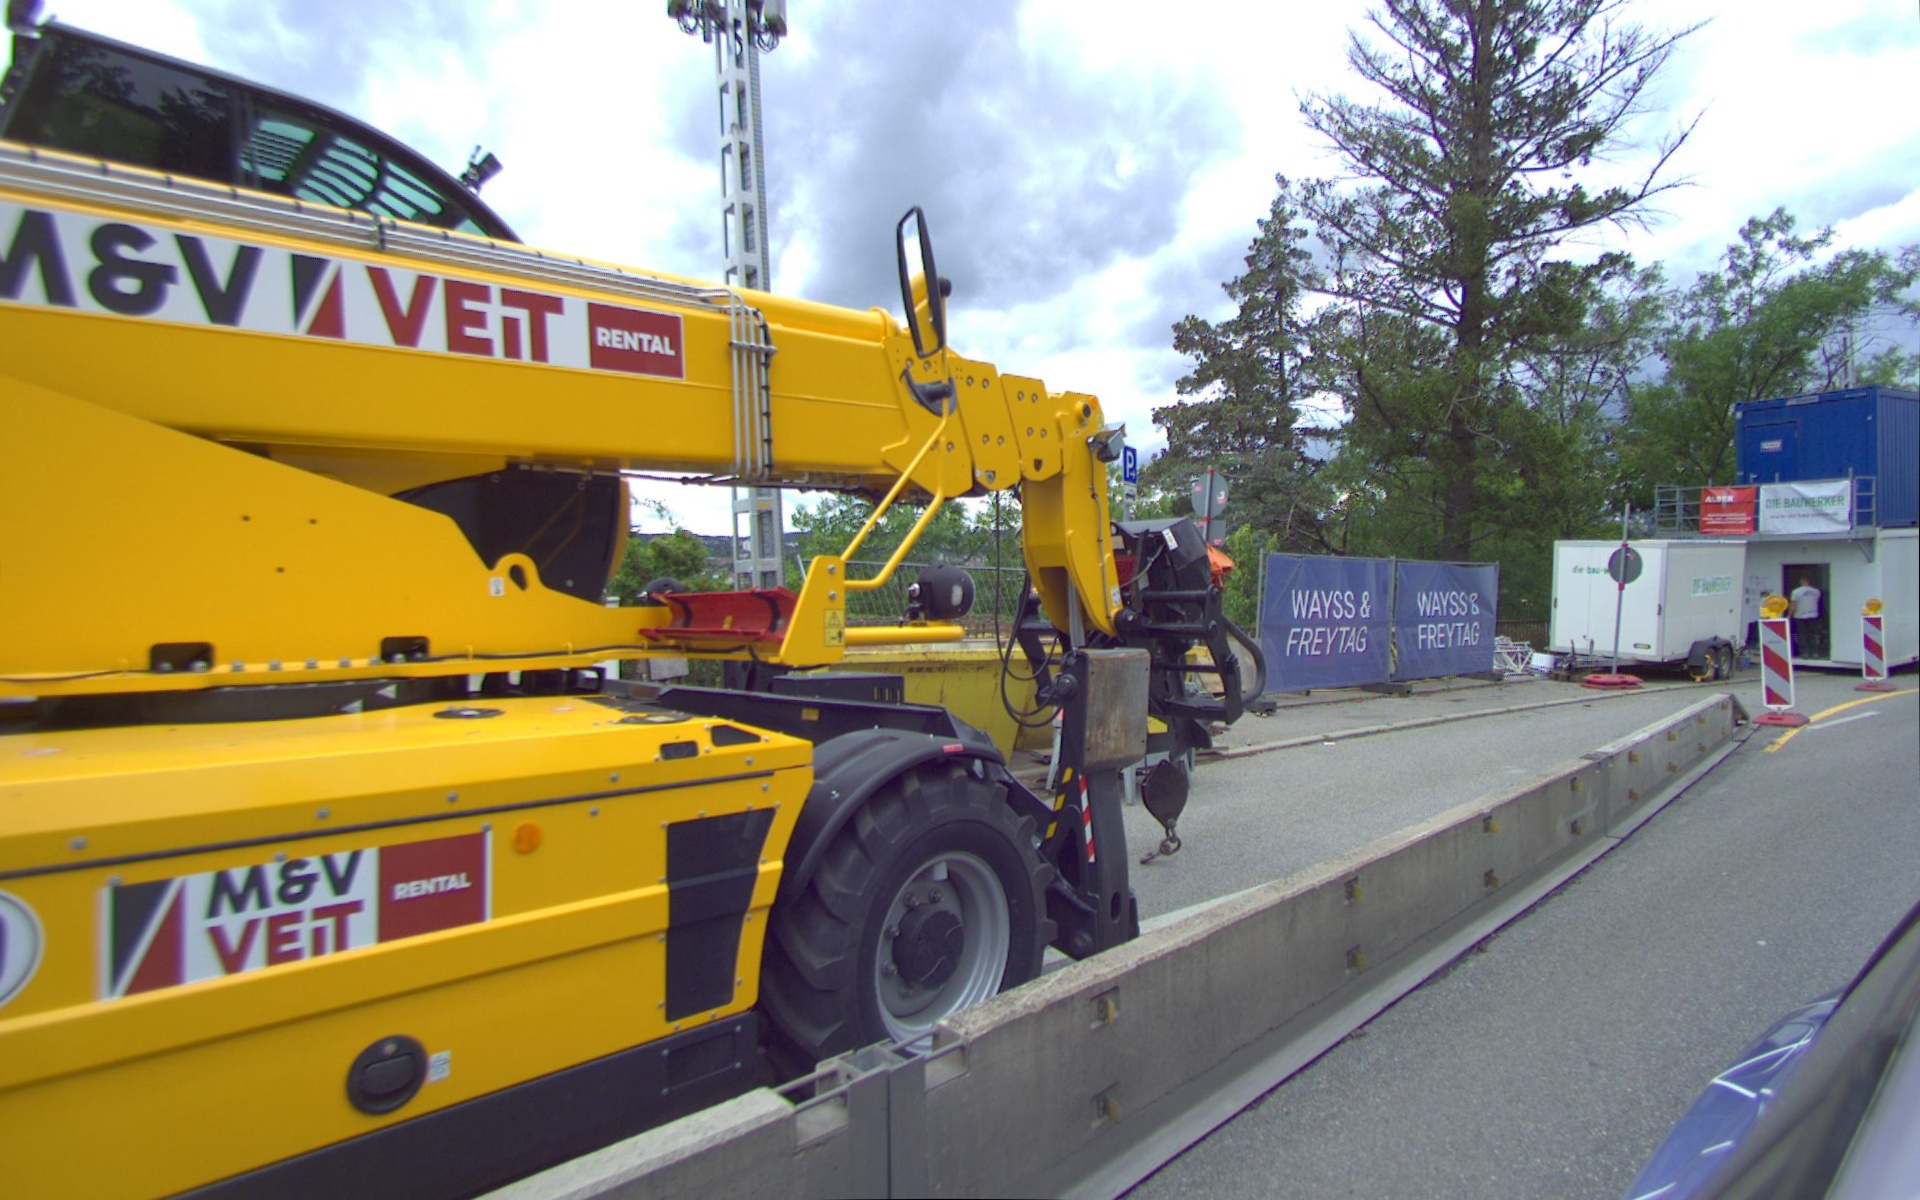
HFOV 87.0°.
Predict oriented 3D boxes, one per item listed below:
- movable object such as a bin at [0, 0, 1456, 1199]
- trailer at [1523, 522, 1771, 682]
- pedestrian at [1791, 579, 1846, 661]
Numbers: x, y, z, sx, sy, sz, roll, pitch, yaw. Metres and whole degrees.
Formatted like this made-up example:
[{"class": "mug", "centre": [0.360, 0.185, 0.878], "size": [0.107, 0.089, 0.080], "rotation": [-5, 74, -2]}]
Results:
[{"class": "movable object such as a bin", "centre": [-1.214, -0.160, 3.542], "size": [7.692, 3.110, 2.814], "rotation": [0, 0, -44]}, {"class": "trailer", "centre": [12.709, -0.021, 18.616], "size": [5.022, 2.581, 2.114], "rotation": [0, 2, -36]}, {"class": "pedestrian", "centre": [17.909, 0.415, 21.125], "size": [0.641, 1.683, 0.646], "rotation": [-1, -1, 17]}]
